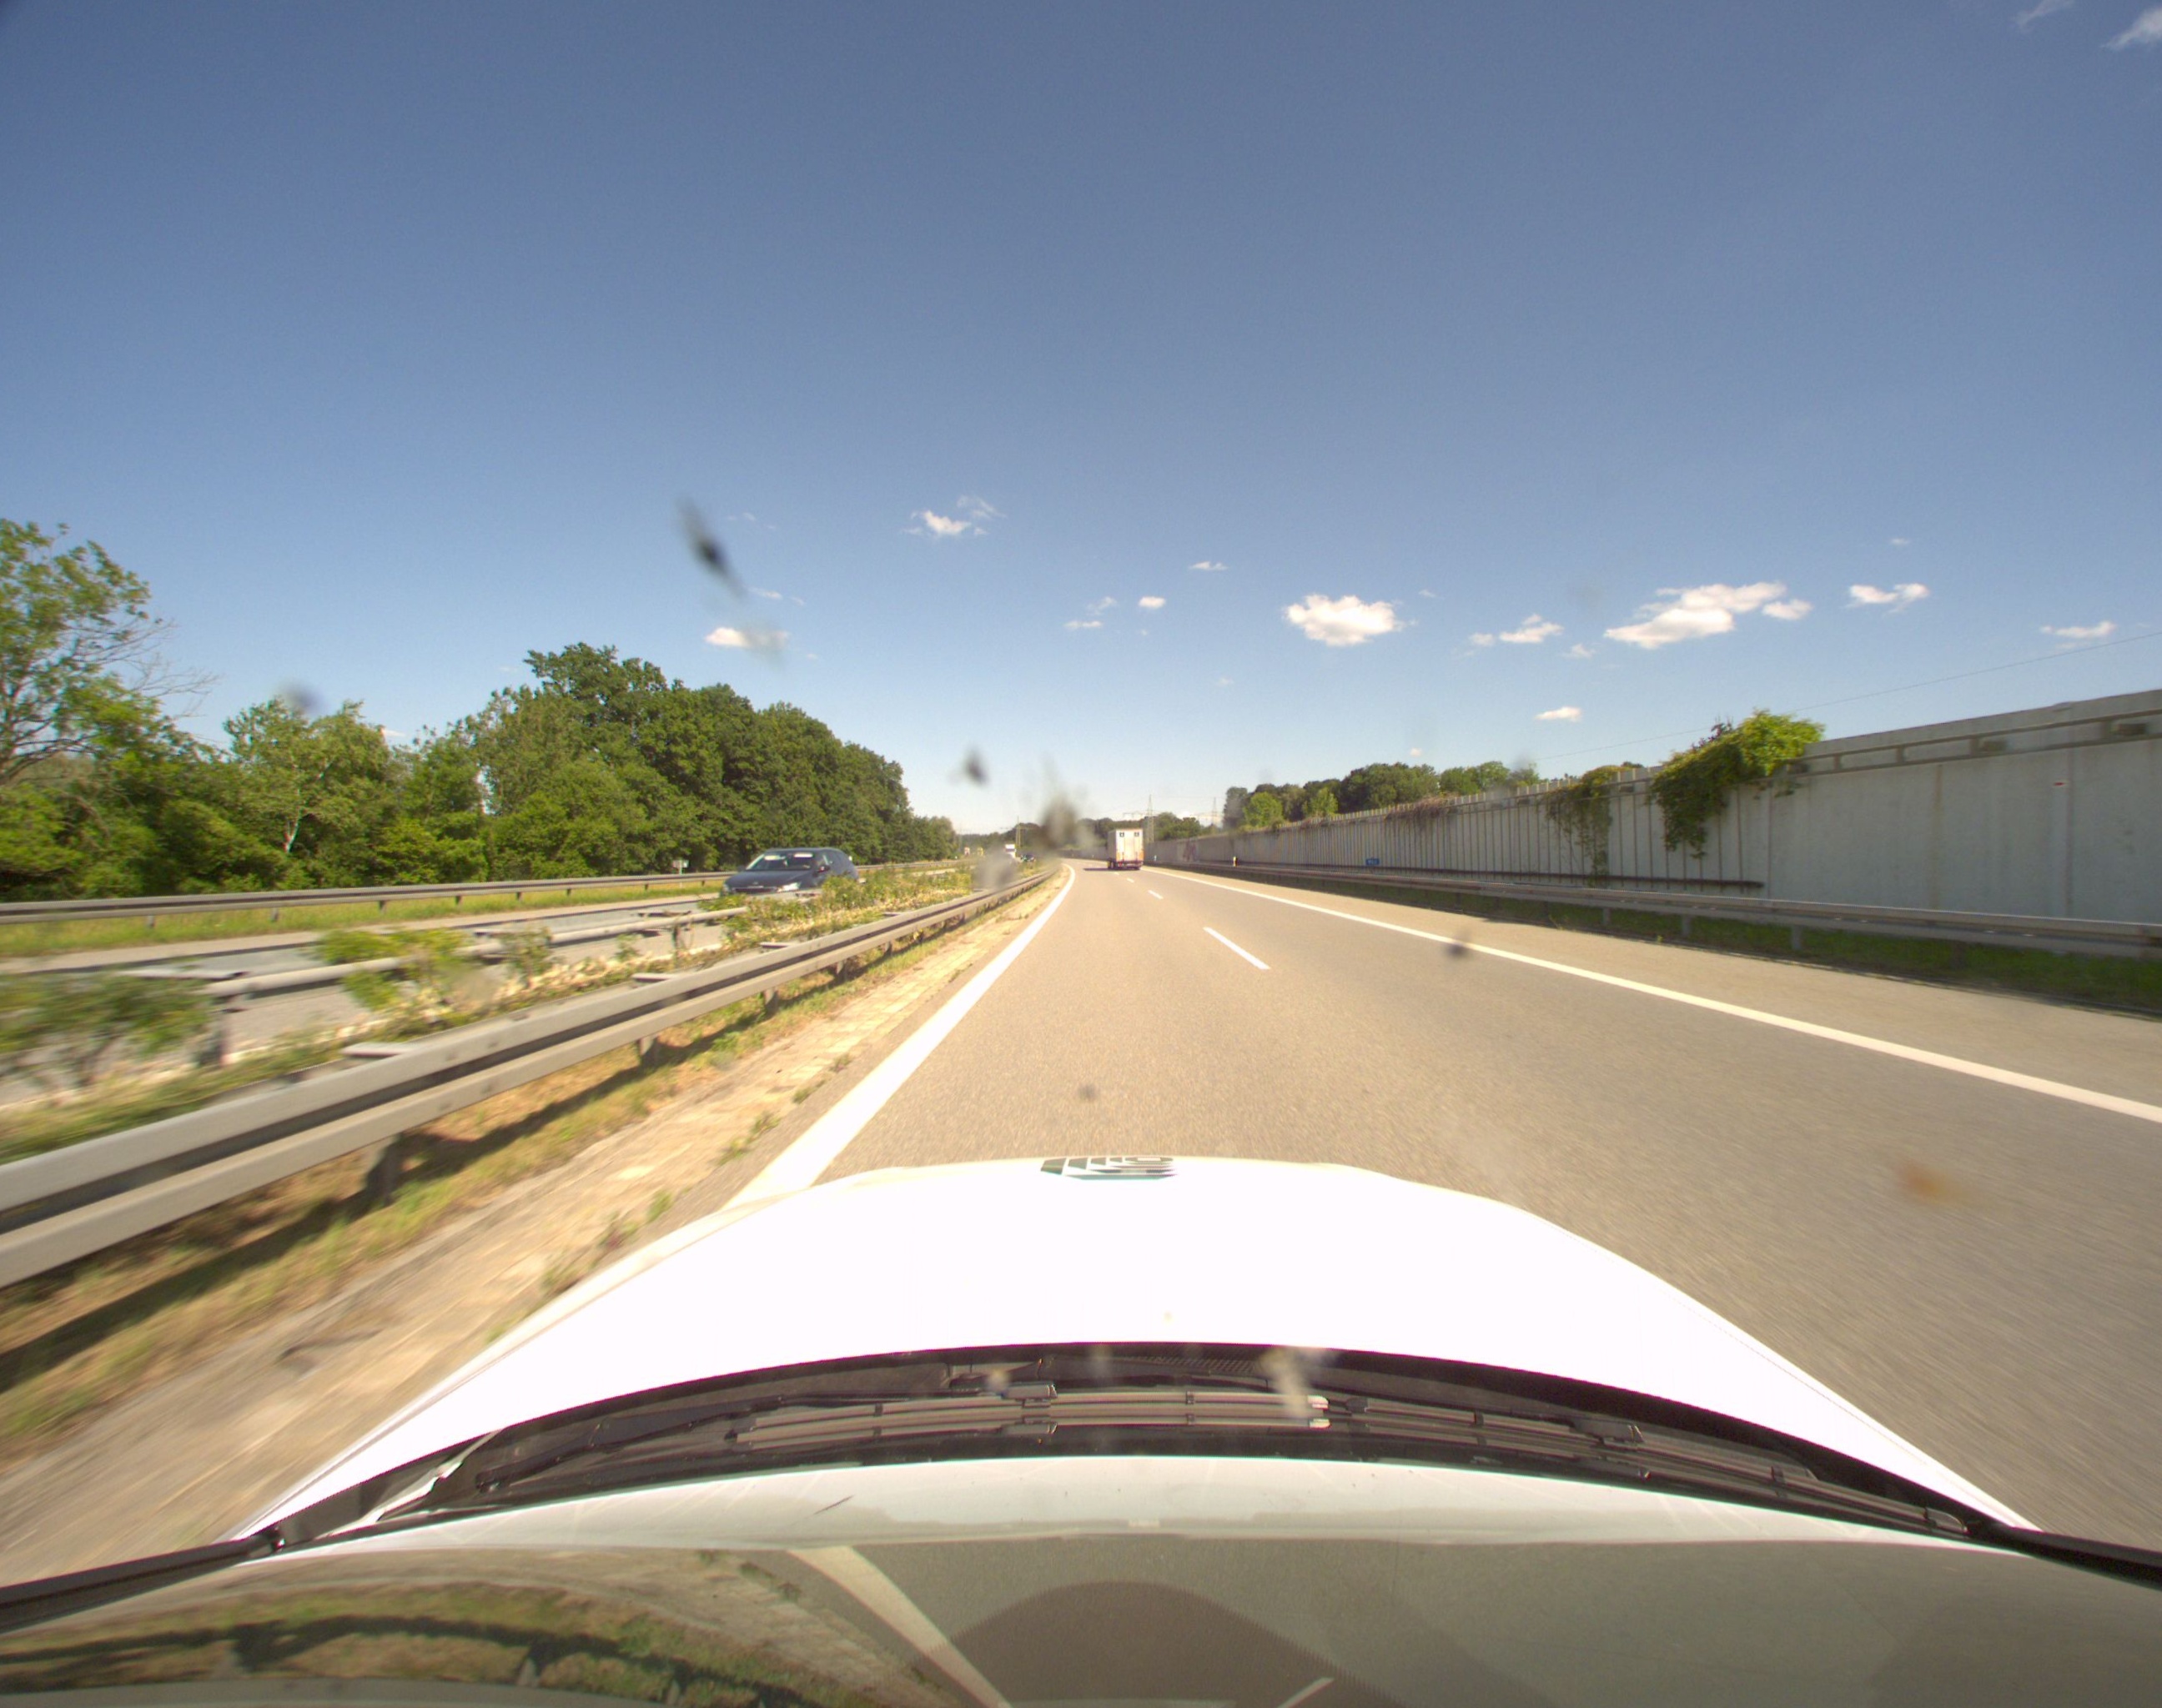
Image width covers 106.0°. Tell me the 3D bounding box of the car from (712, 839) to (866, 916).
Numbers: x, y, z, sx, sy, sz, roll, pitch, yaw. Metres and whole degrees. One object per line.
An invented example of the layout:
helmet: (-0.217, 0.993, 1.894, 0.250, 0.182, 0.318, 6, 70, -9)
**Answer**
car: (-6.268, 0.464, 18.028, 1.846, 1.482, 4.001, -1, 0, 1)

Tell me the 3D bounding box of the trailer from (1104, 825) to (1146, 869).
trailer: (4.326, -0.662, 82.777, 2.878, 4.066, 12.405, -1, 0, -3)

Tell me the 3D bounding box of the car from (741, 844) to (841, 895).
car: (-10.227, 0.520, 29.094, 1.846, 1.634, 4.495, -1, 0, 1)

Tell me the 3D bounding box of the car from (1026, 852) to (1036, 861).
car: (-8.469, 0.451, 138.221, 1.656, 1.450, 4.242, -2, 0, -3)

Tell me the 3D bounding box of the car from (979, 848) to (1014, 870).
car: (-6.210, 0.379, 60.189, 1.924, 1.505, 4.795, -1, 0, 1)

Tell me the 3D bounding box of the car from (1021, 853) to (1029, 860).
car: (-14.223, 0.678, 206.933, 1.839, 1.606, 3.993, -1, 0, -5)

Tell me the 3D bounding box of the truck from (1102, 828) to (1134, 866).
truck: (3.987, -0.713, 88.760, 2.824, 4.012, 6.579, -1, 0, -3)
